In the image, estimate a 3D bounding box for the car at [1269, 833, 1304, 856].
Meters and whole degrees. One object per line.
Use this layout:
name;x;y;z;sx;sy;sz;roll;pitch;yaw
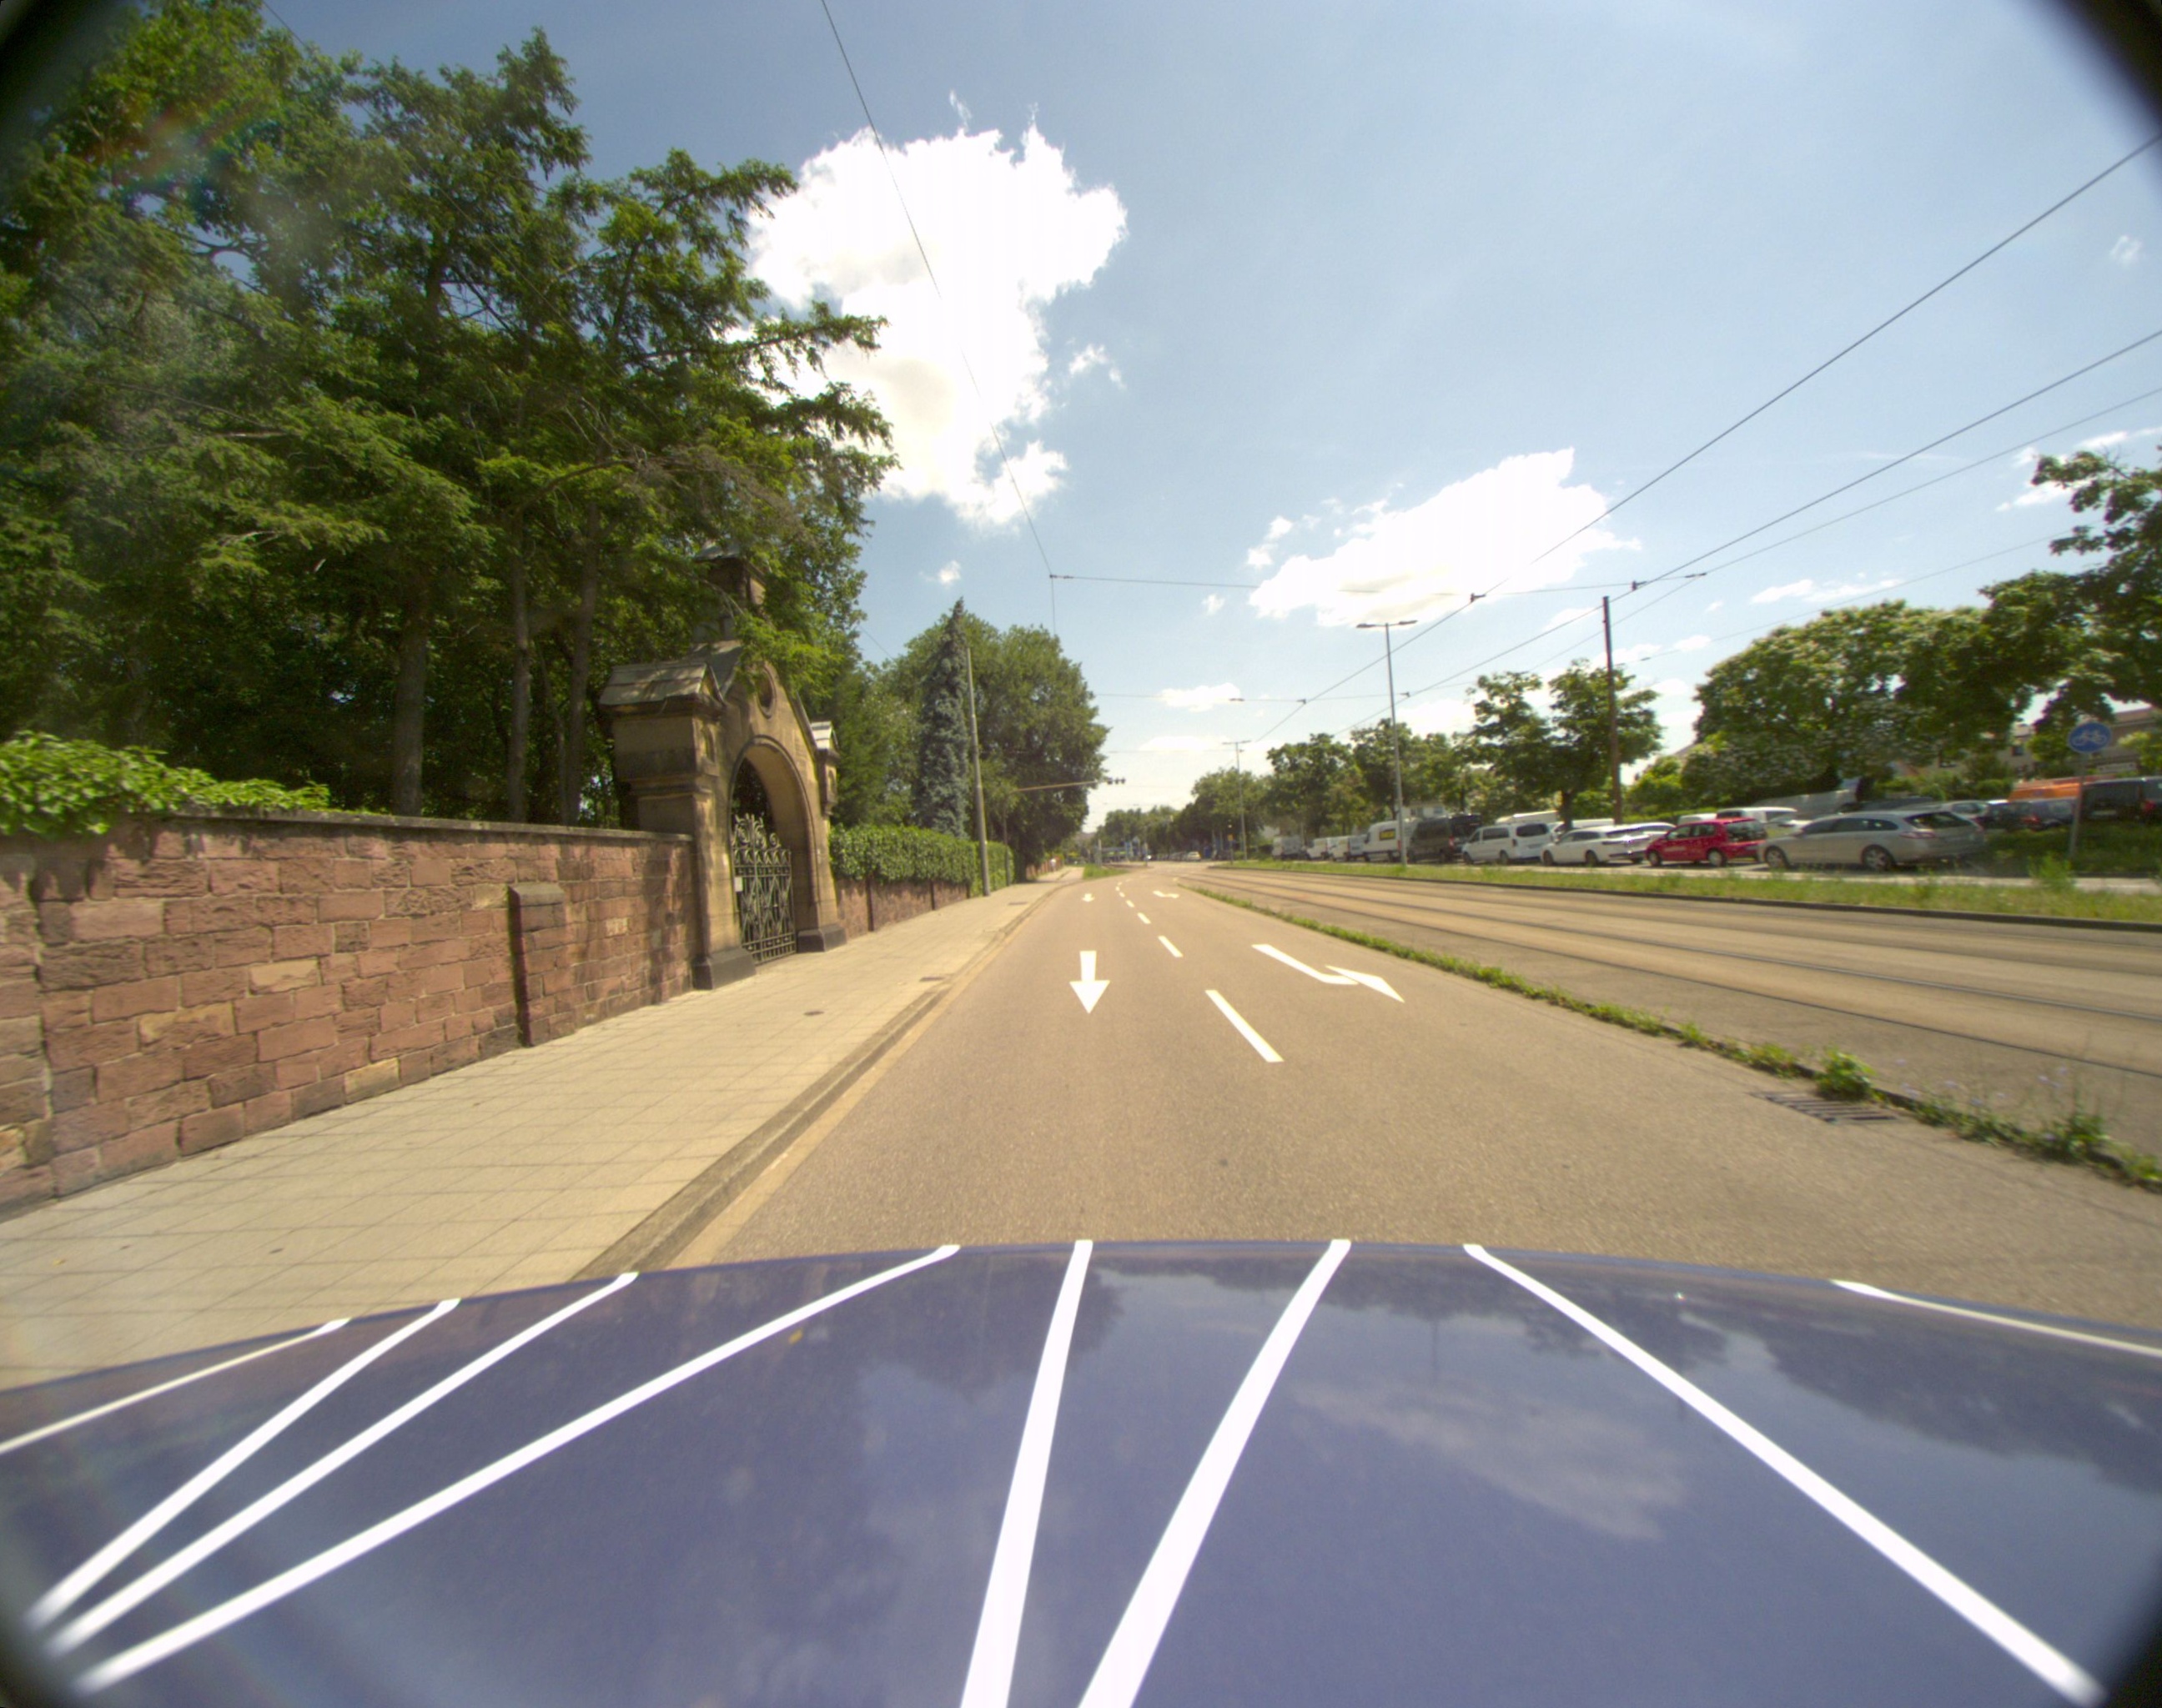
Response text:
car;21.070;-0.968;78.019;2.071;2.089;4.488;-6;1;-1

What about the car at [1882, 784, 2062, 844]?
car;30.813;-1.359;26.371;3.997;1.726;1.803;-4;0;1

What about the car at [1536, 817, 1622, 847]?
car;31.666;-1.392;48.399;4.199;1.726;1.803;-2;1;1

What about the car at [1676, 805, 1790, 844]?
car;31.858;-1.426;37.221;3.996;1.726;1.803;-2;1;1

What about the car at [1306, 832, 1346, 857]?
car;21.050;-0.810;65.429;1.795;1.927;4.488;-6;1;-1

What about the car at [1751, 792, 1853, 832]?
car;44.499;-2.554;46.950;4.652;2.212;1.851;-2;1;-2

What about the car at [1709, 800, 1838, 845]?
car;31.357;-1.411;34.505;3.997;1.726;1.903;-4;0;1

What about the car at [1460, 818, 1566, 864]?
car;20.371;-0.609;36.131;2.156;1.827;4.888;-6;1;1

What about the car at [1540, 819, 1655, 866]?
car;19.880;-0.449;29.474;1.503;1.531;4.359;-6;1;2

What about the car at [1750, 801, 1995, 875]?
car;20.121;-0.398;19.662;1.580;1.531;4.551;-6;1;2

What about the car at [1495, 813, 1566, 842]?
car;45.139;-2.606;76.434;5.698;2.467;2.259;-4;0;-2

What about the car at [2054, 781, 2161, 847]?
car;30.579;-1.200;21.313;3.997;1.726;1.879;-4;0;1

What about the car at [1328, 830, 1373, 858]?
car;20.836;-0.794;58.939;1.794;1.927;4.648;-6;1;1

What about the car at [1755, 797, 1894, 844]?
car;31.102;-1.374;31.880;3.996;1.726;1.803;-2;1;1

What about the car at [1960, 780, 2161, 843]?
car;30.456;-1.282;23.653;3.996;1.726;1.803;-2;1;1

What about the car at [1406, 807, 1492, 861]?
car;20.268;-1.069;42.101;2.156;2.596;5.033;-6;1;1

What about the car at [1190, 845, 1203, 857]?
car;17.313;-0.449;113.799;1.681;1.680;3.547;-2;1;7

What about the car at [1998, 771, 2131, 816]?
car;43.623;-2.673;33.760;3.745;1.726;1.760;-2;1;-2

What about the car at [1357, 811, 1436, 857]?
car;20.682;-1.268;50.220;2.156;2.596;6.703;-6;1;0

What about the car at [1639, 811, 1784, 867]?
car;20.335;-0.461;24.712;1.503;1.531;3.648;-6;1;-2

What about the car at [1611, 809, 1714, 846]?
car;30.671;-1.372;40.175;3.996;1.726;1.803;-2;1;1
